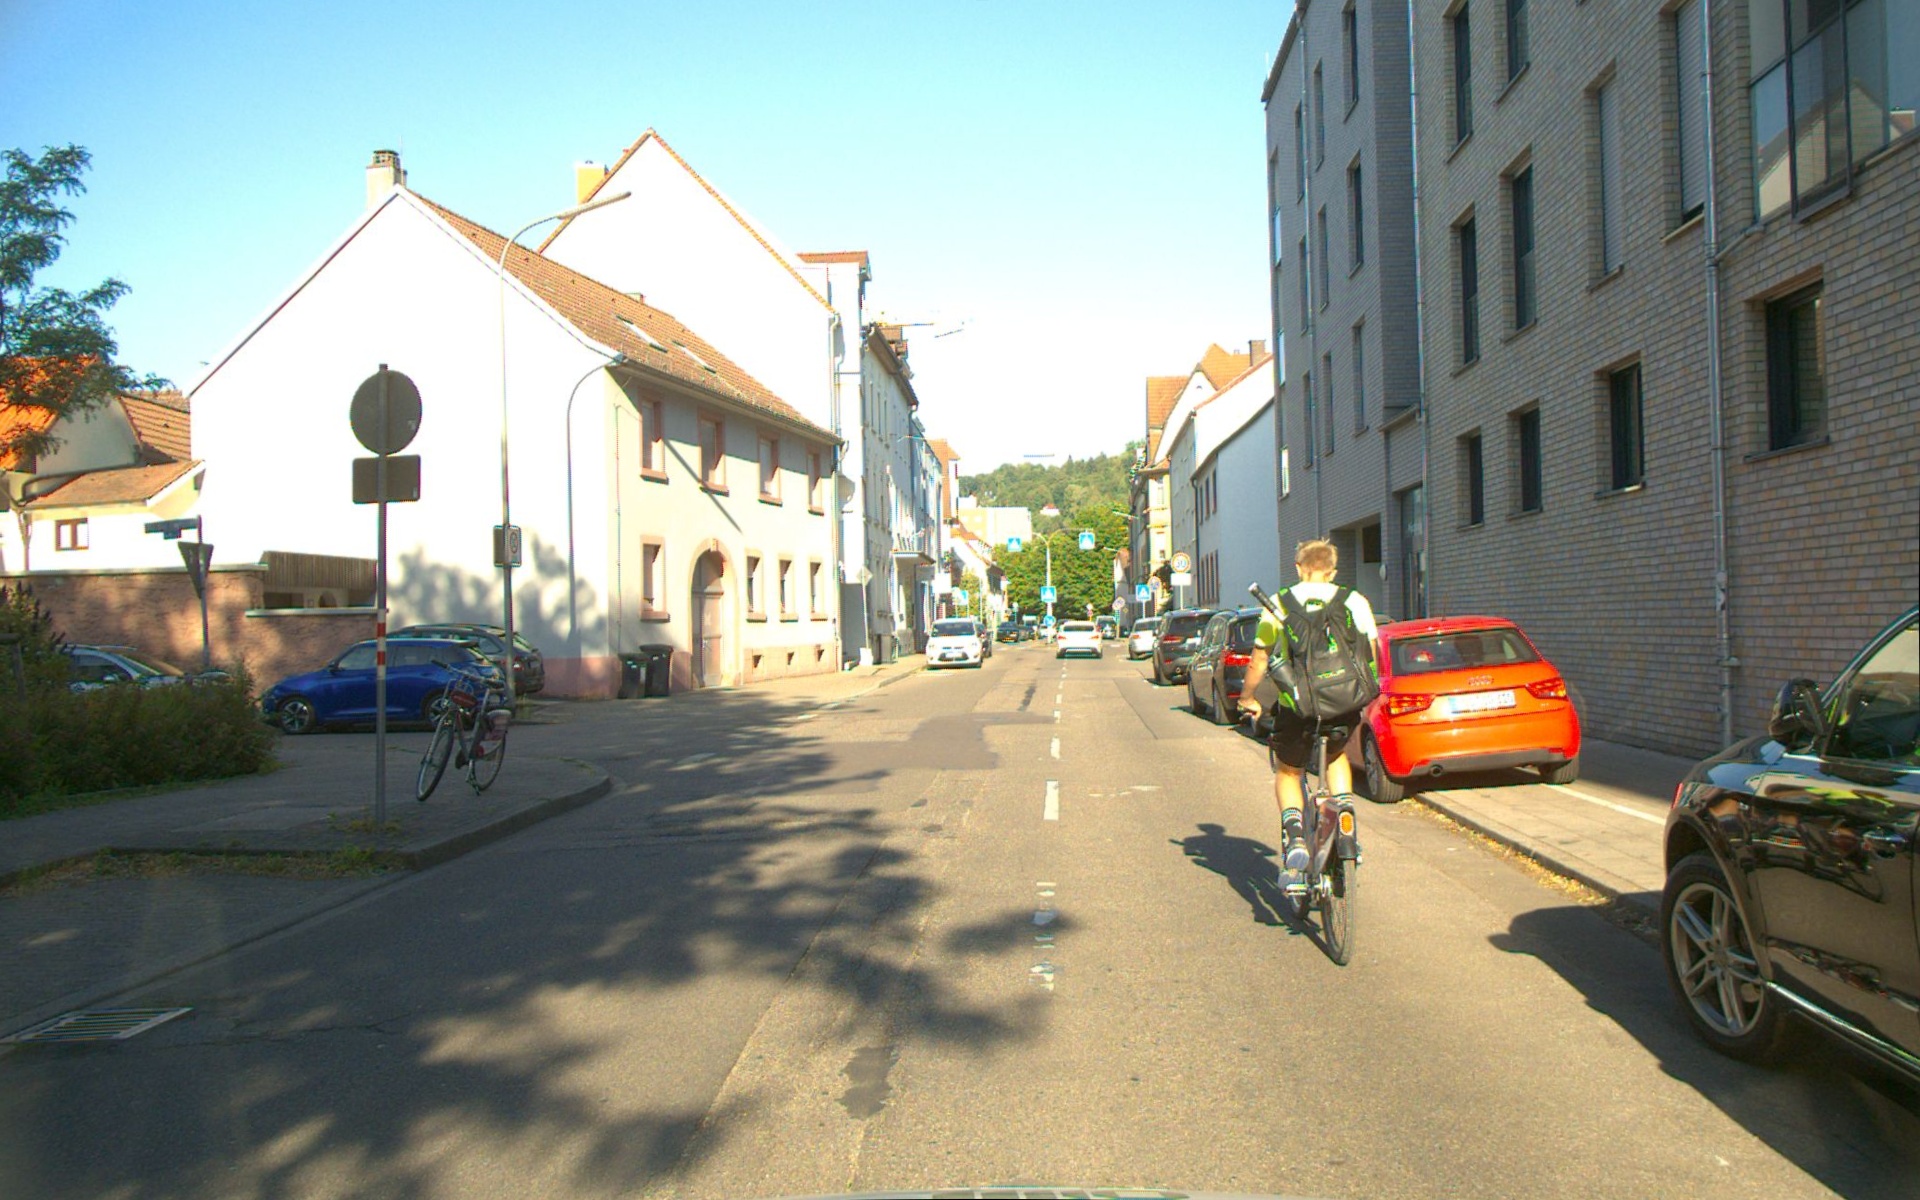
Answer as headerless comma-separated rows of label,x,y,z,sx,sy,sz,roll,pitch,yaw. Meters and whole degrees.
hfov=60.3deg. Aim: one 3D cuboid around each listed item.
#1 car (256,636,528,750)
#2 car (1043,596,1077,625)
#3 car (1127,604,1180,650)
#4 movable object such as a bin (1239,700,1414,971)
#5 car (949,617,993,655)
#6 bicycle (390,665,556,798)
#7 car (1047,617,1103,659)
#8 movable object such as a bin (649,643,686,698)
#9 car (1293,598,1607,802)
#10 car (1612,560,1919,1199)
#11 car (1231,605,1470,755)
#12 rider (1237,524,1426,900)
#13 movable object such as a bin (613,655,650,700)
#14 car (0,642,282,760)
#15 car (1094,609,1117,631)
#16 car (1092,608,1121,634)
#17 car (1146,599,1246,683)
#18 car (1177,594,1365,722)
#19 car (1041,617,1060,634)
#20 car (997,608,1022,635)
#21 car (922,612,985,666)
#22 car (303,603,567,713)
car,-9.302,1.506,27.309,3.689,1.556,2.001,-3,0,4
car,7.438,0.788,123.526,1.954,2.049,3.997,-2,-1,-4
car,7.130,0.989,61.283,1.705,1.518,4.441,-4,-1,4
movable object such as a bin,1.665,1.022,7.727,0.445,1.051,1.840,1,-2,1
car,0.493,1.577,72.097,1.695,1.525,3.960,-3,-1,2
bicycle,-4.232,1.119,14.536,0.688,1.020,1.942,-1,-1,6
car,4.454,1.456,64.411,1.952,1.492,4.000,-2,-1,1
movable object such as a bin,-6.099,1.463,34.511,0.586,1.113,0.751,-1,-1,4
car,4.233,0.795,14.957,1.677,1.428,4.074,-6,-1,2
car,3.365,0.735,4.384,1.849,1.742,4.777,-2,0,7
car,4.549,0.866,19.935,1.952,1.532,4.368,-2,0,2
rider,1.676,0.492,7.597,0.640,1.589,1.083,1,-2,1
movable object such as a bin,-6.692,1.576,33.701,0.586,0.887,0.606,-2,-1,1
car,-13.716,1.658,27.529,3.904,1.526,2.001,-5,1,4
car,12.096,1.676,137.284,1.780,1.659,4.003,-3,0,6
car,11.157,1.610,125.926,1.969,1.885,4.001,-1,0,2
car,5.343,0.873,37.948,1.816,1.664,4.625,-5,0,4
car,4.576,0.788,25.053,1.952,1.682,4.763,-2,0,1
car,9.751,2.729,178.389,1.770,1.731,4.191,-4,0,0
car,3.970,1.711,132.113,1.952,2.049,4.001,-2,0,2
car,-0.179,1.258,55.566,1.952,1.676,5.222,-2,0,1
car,-9.815,1.049,31.107,4.271,1.826,1.989,1,2,4
